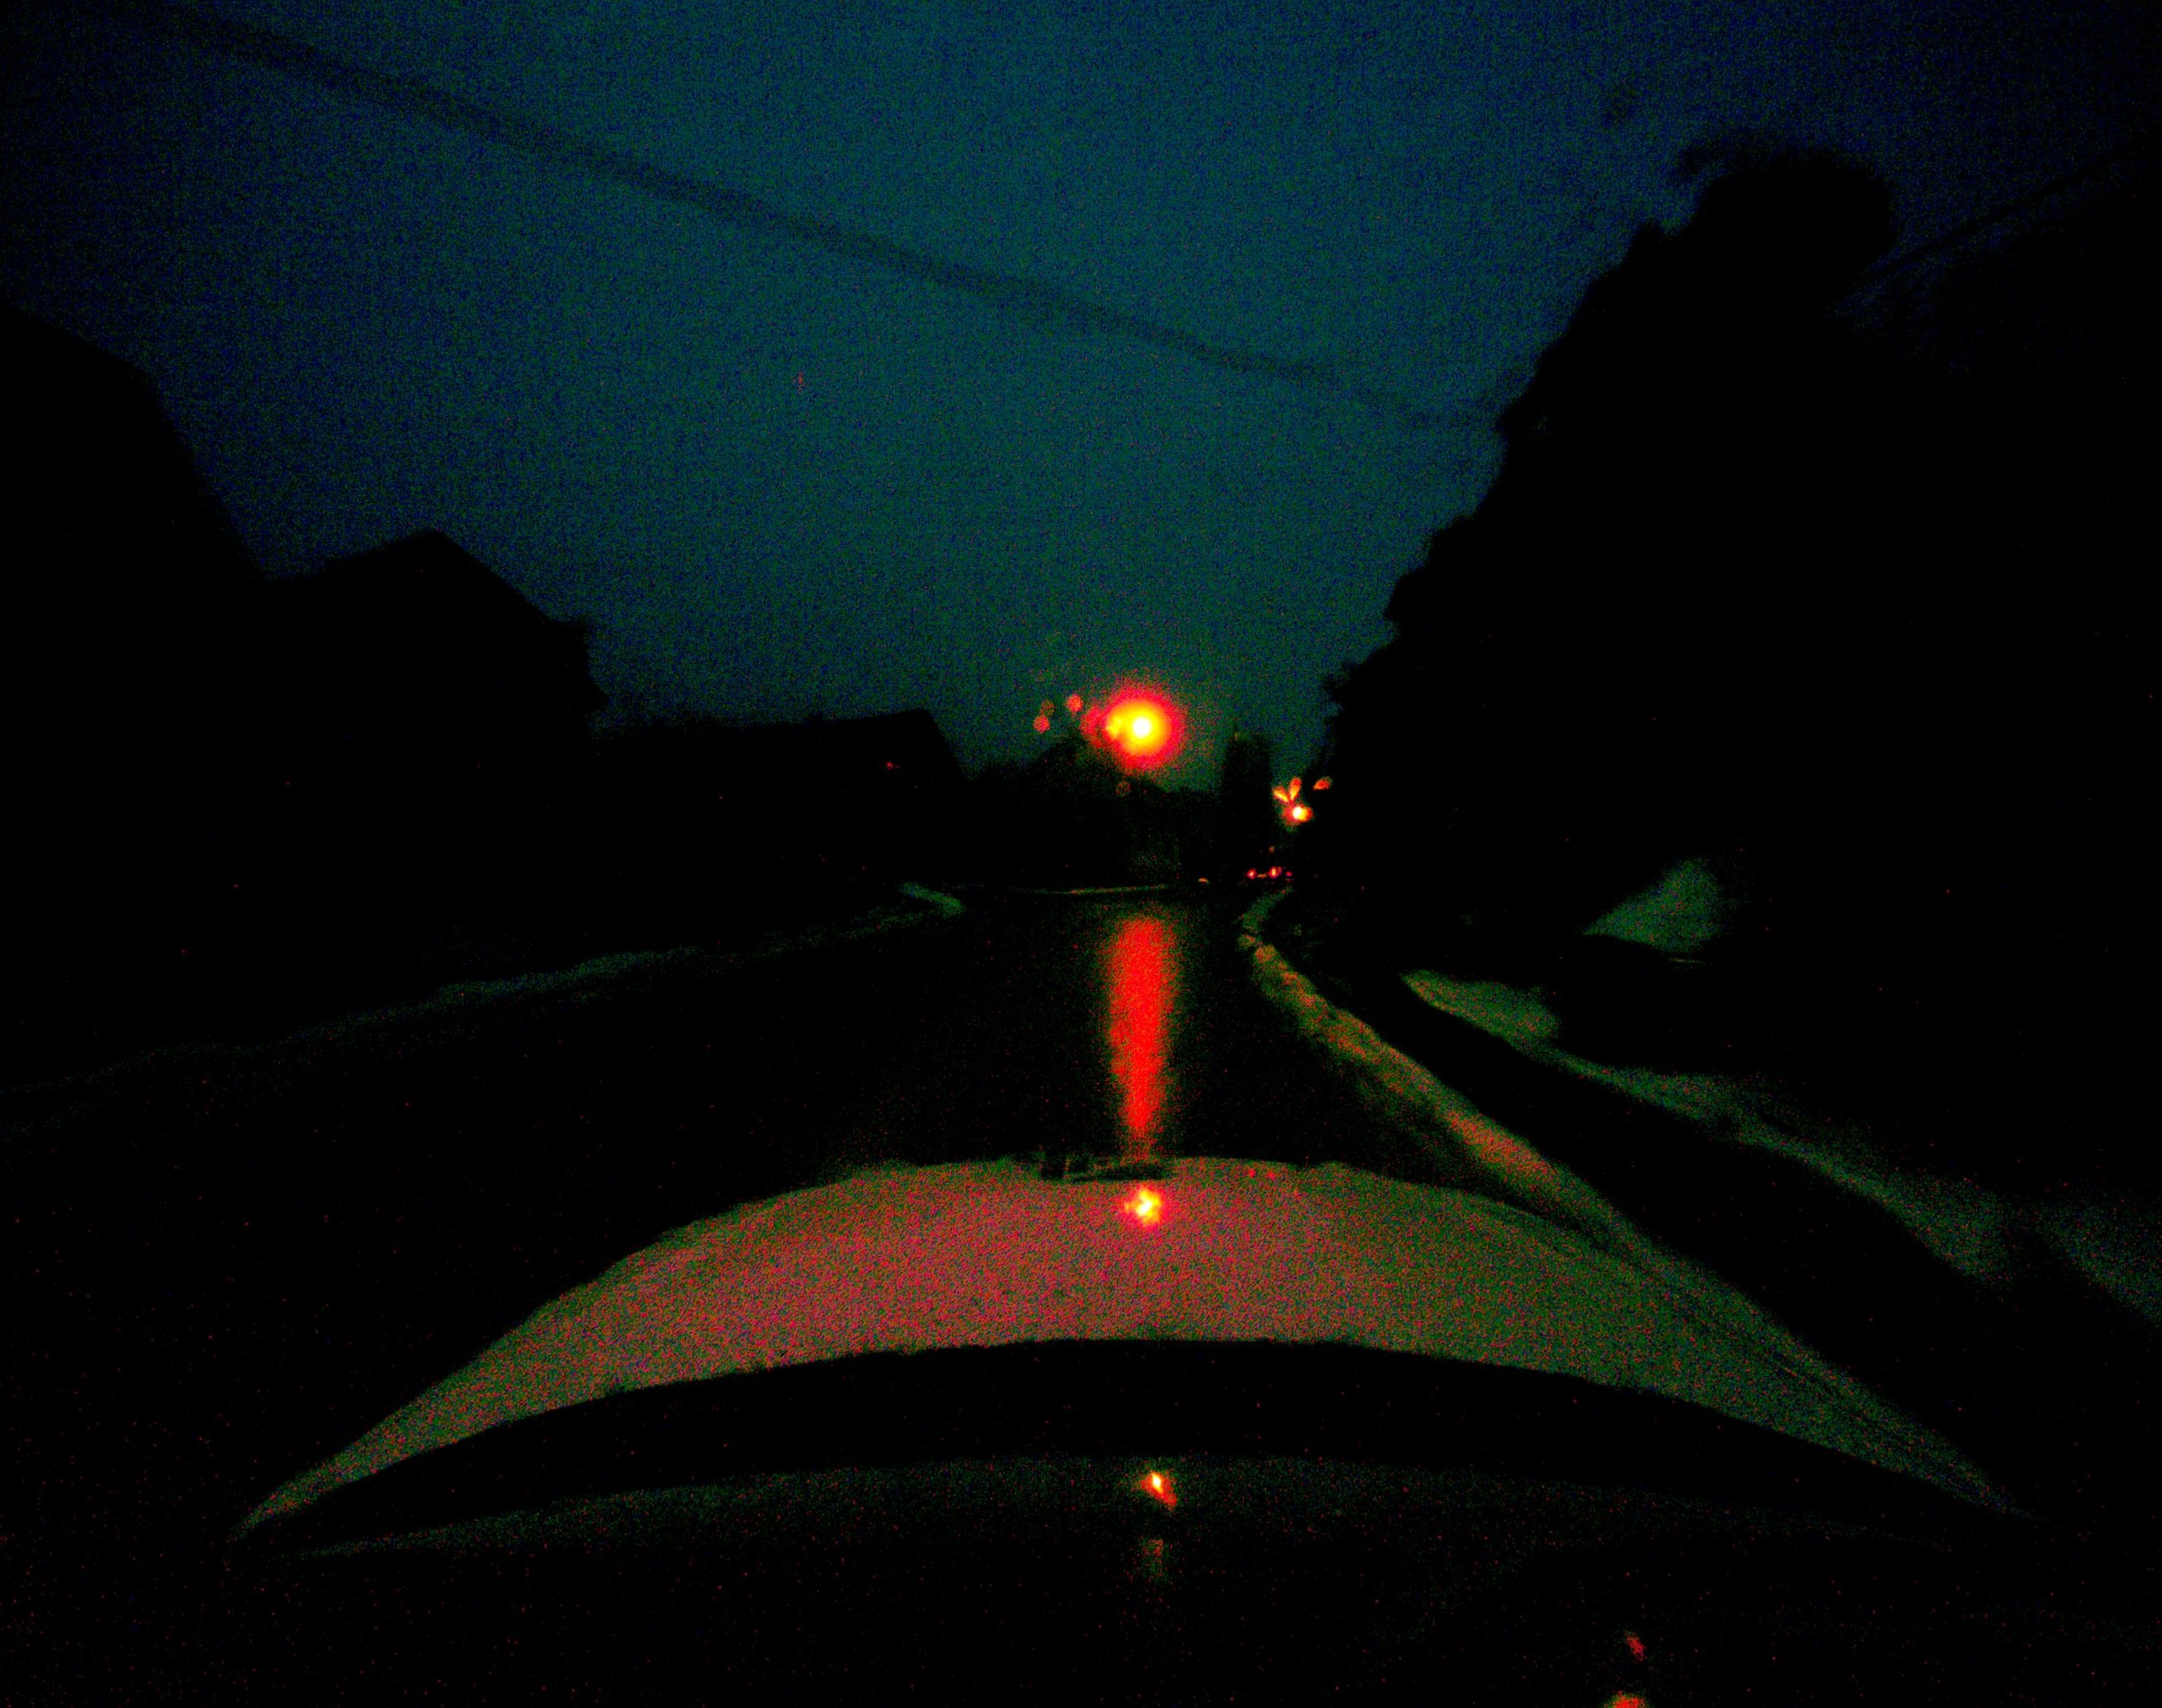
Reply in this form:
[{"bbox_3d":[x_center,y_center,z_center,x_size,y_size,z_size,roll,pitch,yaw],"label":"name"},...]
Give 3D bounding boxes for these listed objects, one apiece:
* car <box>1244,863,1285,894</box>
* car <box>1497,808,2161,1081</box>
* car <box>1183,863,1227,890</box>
[{"bbox_3d":[11.124,1.508,49.137,1.978,1.737,3.895,-3,-4,17],"label":"car"},{"bbox_3d":[5.637,0.577,6.330,3.988,1.690,1.837,0,-2,-11],"label":"car"},{"bbox_3d":[8.364,1.570,54.644,1.976,1.651,4.020,-3,-4,21],"label":"car"}]
